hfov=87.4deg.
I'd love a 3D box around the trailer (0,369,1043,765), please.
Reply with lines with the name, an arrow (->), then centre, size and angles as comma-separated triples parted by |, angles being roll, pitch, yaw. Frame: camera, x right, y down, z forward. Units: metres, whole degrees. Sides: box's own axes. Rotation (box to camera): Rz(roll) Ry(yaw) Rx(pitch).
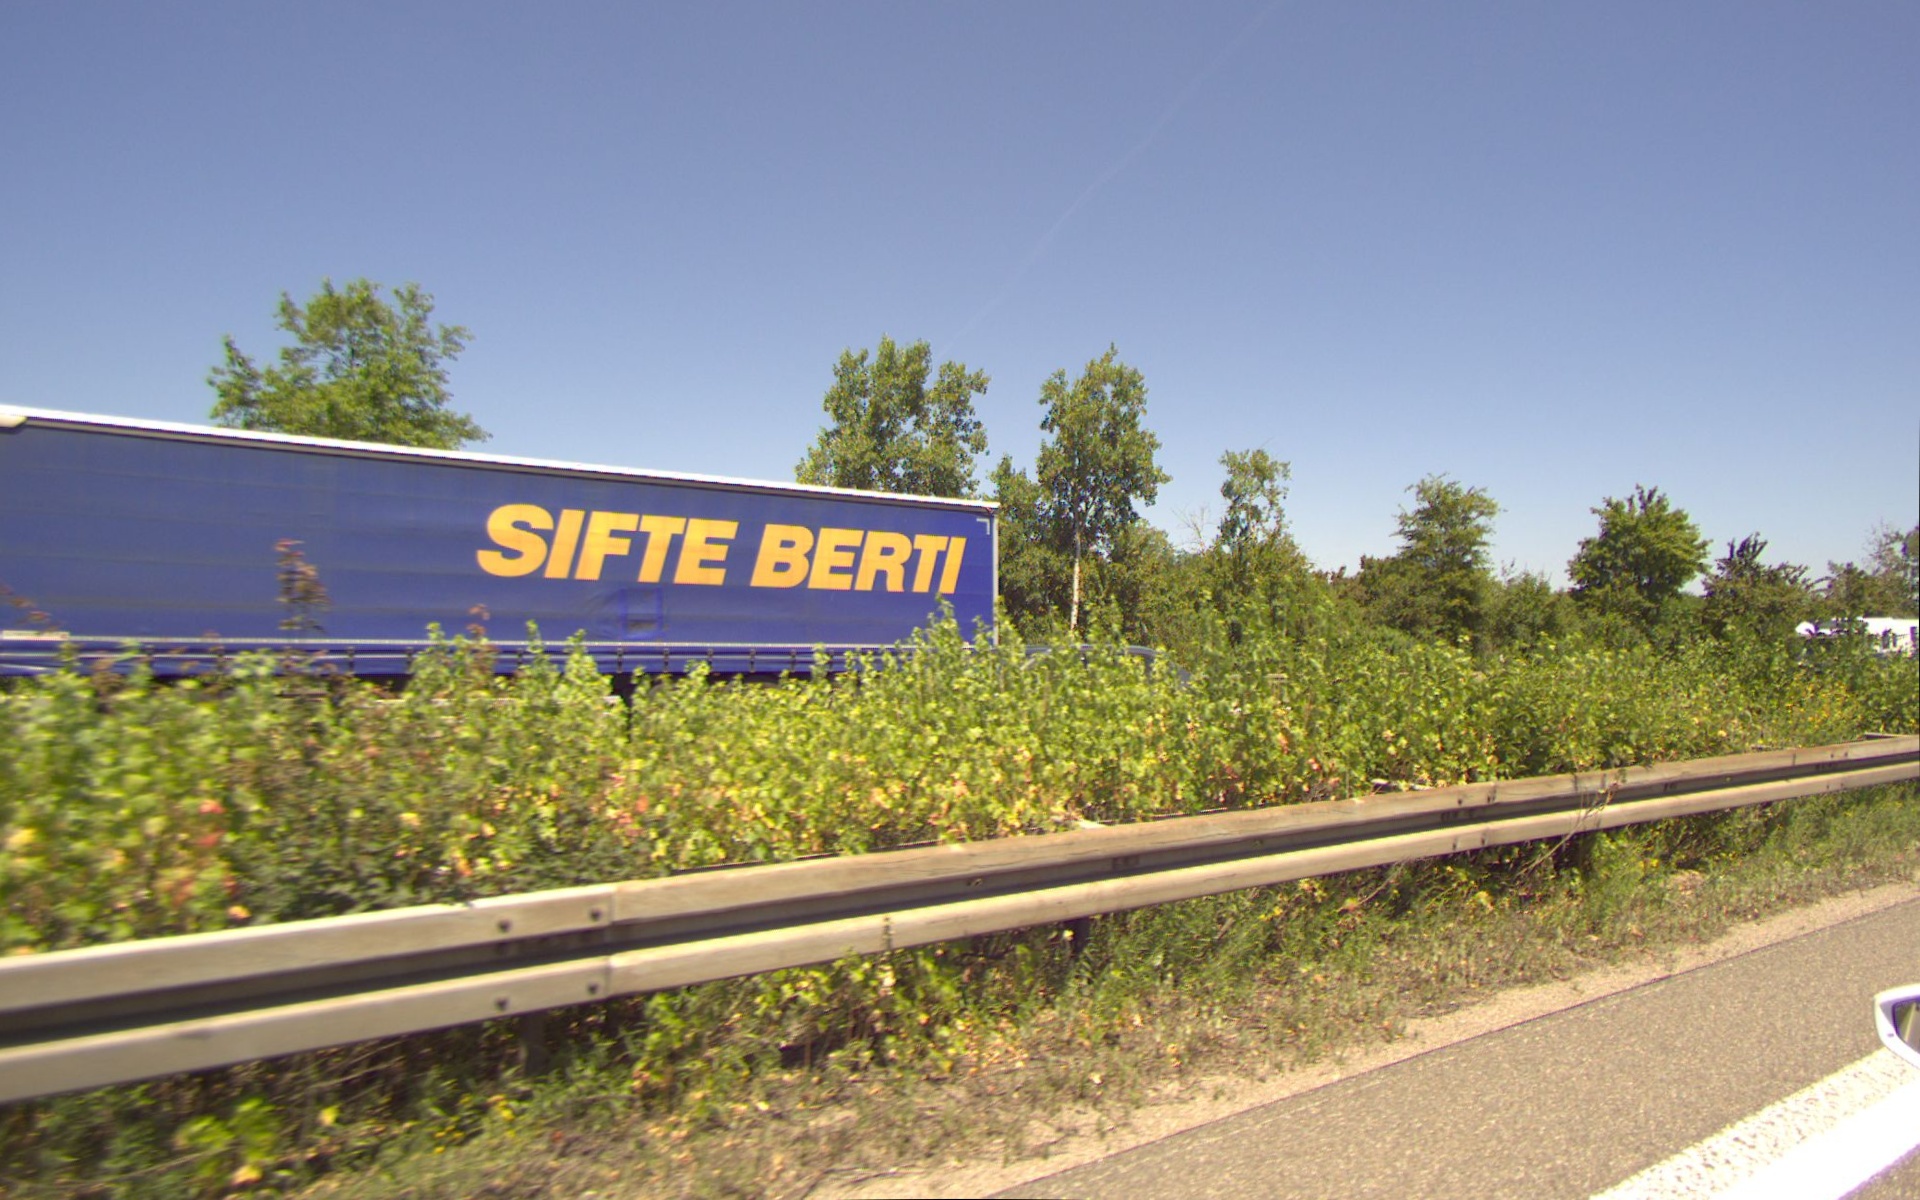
trailer -> -5.159, 0.067, 15.483 | 13.577, 4.266, 2.963 | 4, -4, -30

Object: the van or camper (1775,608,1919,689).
van or camper -> 36.248, 1.993, 40.501 | 7.360, 3.008, 2.837 | 2, -4, -31

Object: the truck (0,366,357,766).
truck -> -11.023, -0.315, 12.020 | 6.238, 4.266, 2.992 | 4, -4, -30
